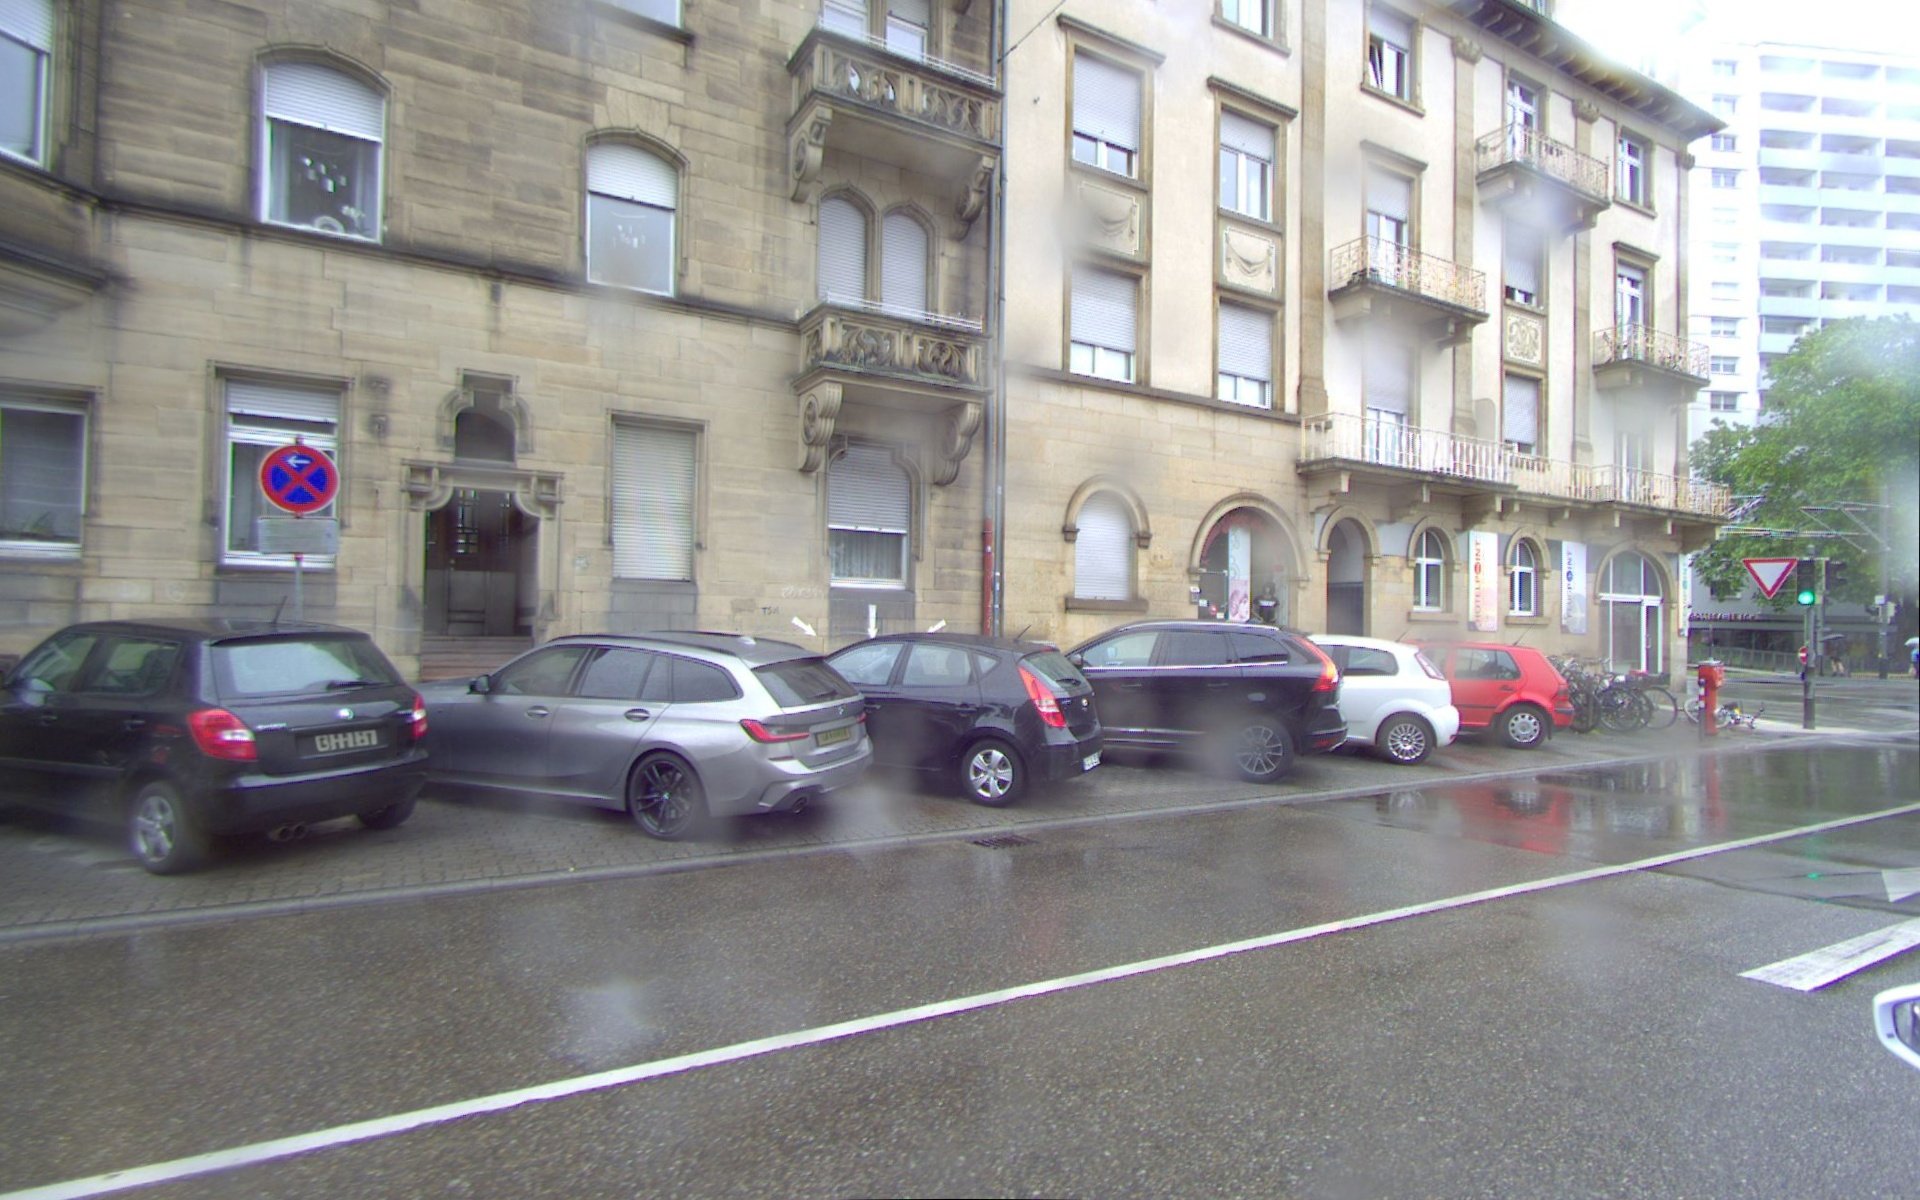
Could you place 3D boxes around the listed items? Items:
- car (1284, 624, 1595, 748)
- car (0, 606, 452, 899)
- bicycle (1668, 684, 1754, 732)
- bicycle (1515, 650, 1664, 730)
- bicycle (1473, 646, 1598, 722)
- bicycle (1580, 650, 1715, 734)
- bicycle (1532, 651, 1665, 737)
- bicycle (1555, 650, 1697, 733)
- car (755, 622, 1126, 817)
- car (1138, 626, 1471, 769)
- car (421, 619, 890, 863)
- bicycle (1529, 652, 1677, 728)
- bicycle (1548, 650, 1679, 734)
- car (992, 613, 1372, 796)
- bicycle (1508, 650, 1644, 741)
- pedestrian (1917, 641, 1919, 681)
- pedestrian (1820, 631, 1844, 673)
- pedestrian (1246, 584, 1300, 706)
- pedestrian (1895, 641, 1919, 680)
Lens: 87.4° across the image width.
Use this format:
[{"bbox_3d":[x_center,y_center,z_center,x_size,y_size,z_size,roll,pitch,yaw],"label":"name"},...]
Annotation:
[{"bbox_3d":[6.927,1.191,14.975,3.920,1.528,1.804,2,0,17],"label":"car"},{"bbox_3d":[-5.507,0.876,7.118,3.378,1.564,1.627,2,0,25],"label":"car"},{"bbox_3d":[13.423,1.912,17.995,1.024,0.672,1.476,2,-1,29],"label":"bicycle"},{"bbox_3d":[11.794,1.647,18.910,0.633,1.364,2.326,2,-2,-34],"label":"bicycle"},{"bbox_3d":[11.027,1.575,19.311,0.579,1.364,2.044,2,-2,-35],"label":"bicycle"},{"bbox_3d":[11.955,1.559,17.537,0.432,1.347,1.969,1,-2,-27],"label":"bicycle"},{"bbox_3d":[10.598,1.527,16.731,0.469,1.200,1.800,2,2,-31],"label":"bicycle"},{"bbox_3d":[11.436,1.538,17.327,0.470,1.200,1.968,2,1,-32],"label":"bicycle"},{"bbox_3d":[-0.165,1.045,9.959,3.246,1.545,1.700,2,0,22],"label":"car"},{"bbox_3d":[4.499,1.187,13.389,3.916,1.554,1.704,1,0,21],"label":"car"},{"bbox_3d":[-2.481,0.999,8.323,3.362,1.564,1.701,2,0,21],"label":"car"},{"bbox_3d":[12.297,1.691,19.302,0.633,1.364,2.326,2,-3,-34],"label":"bicycle"},{"bbox_3d":[11.023,1.525,17.013,0.463,1.200,1.800,2,1,-31],"label":"bicycle"},{"bbox_3d":[2.566,1.075,11.646,4.005,1.714,1.764,2,0,21],"label":"car"},{"bbox_3d":[9.848,1.495,16.136,0.592,1.200,1.805,1,2,-24],"label":"bicycle"},{"bbox_3d":[40.795,2.571,42.008,0.743,1.670,0.835,1,-3,-14],"label":"pedestrian"},{"bbox_3d":[38.578,2.291,44.456,0.668,1.862,0.638,-1,-3,32],"label":"pedestrian"},{"bbox_3d":[6.229,0.885,20.007,0.750,2.370,0.847,1,-2,-7],"label":"pedestrian"},{"bbox_3d":[41.433,2.646,43.669,0.803,1.670,0.792,1,-3,-14],"label":"pedestrian"}]
